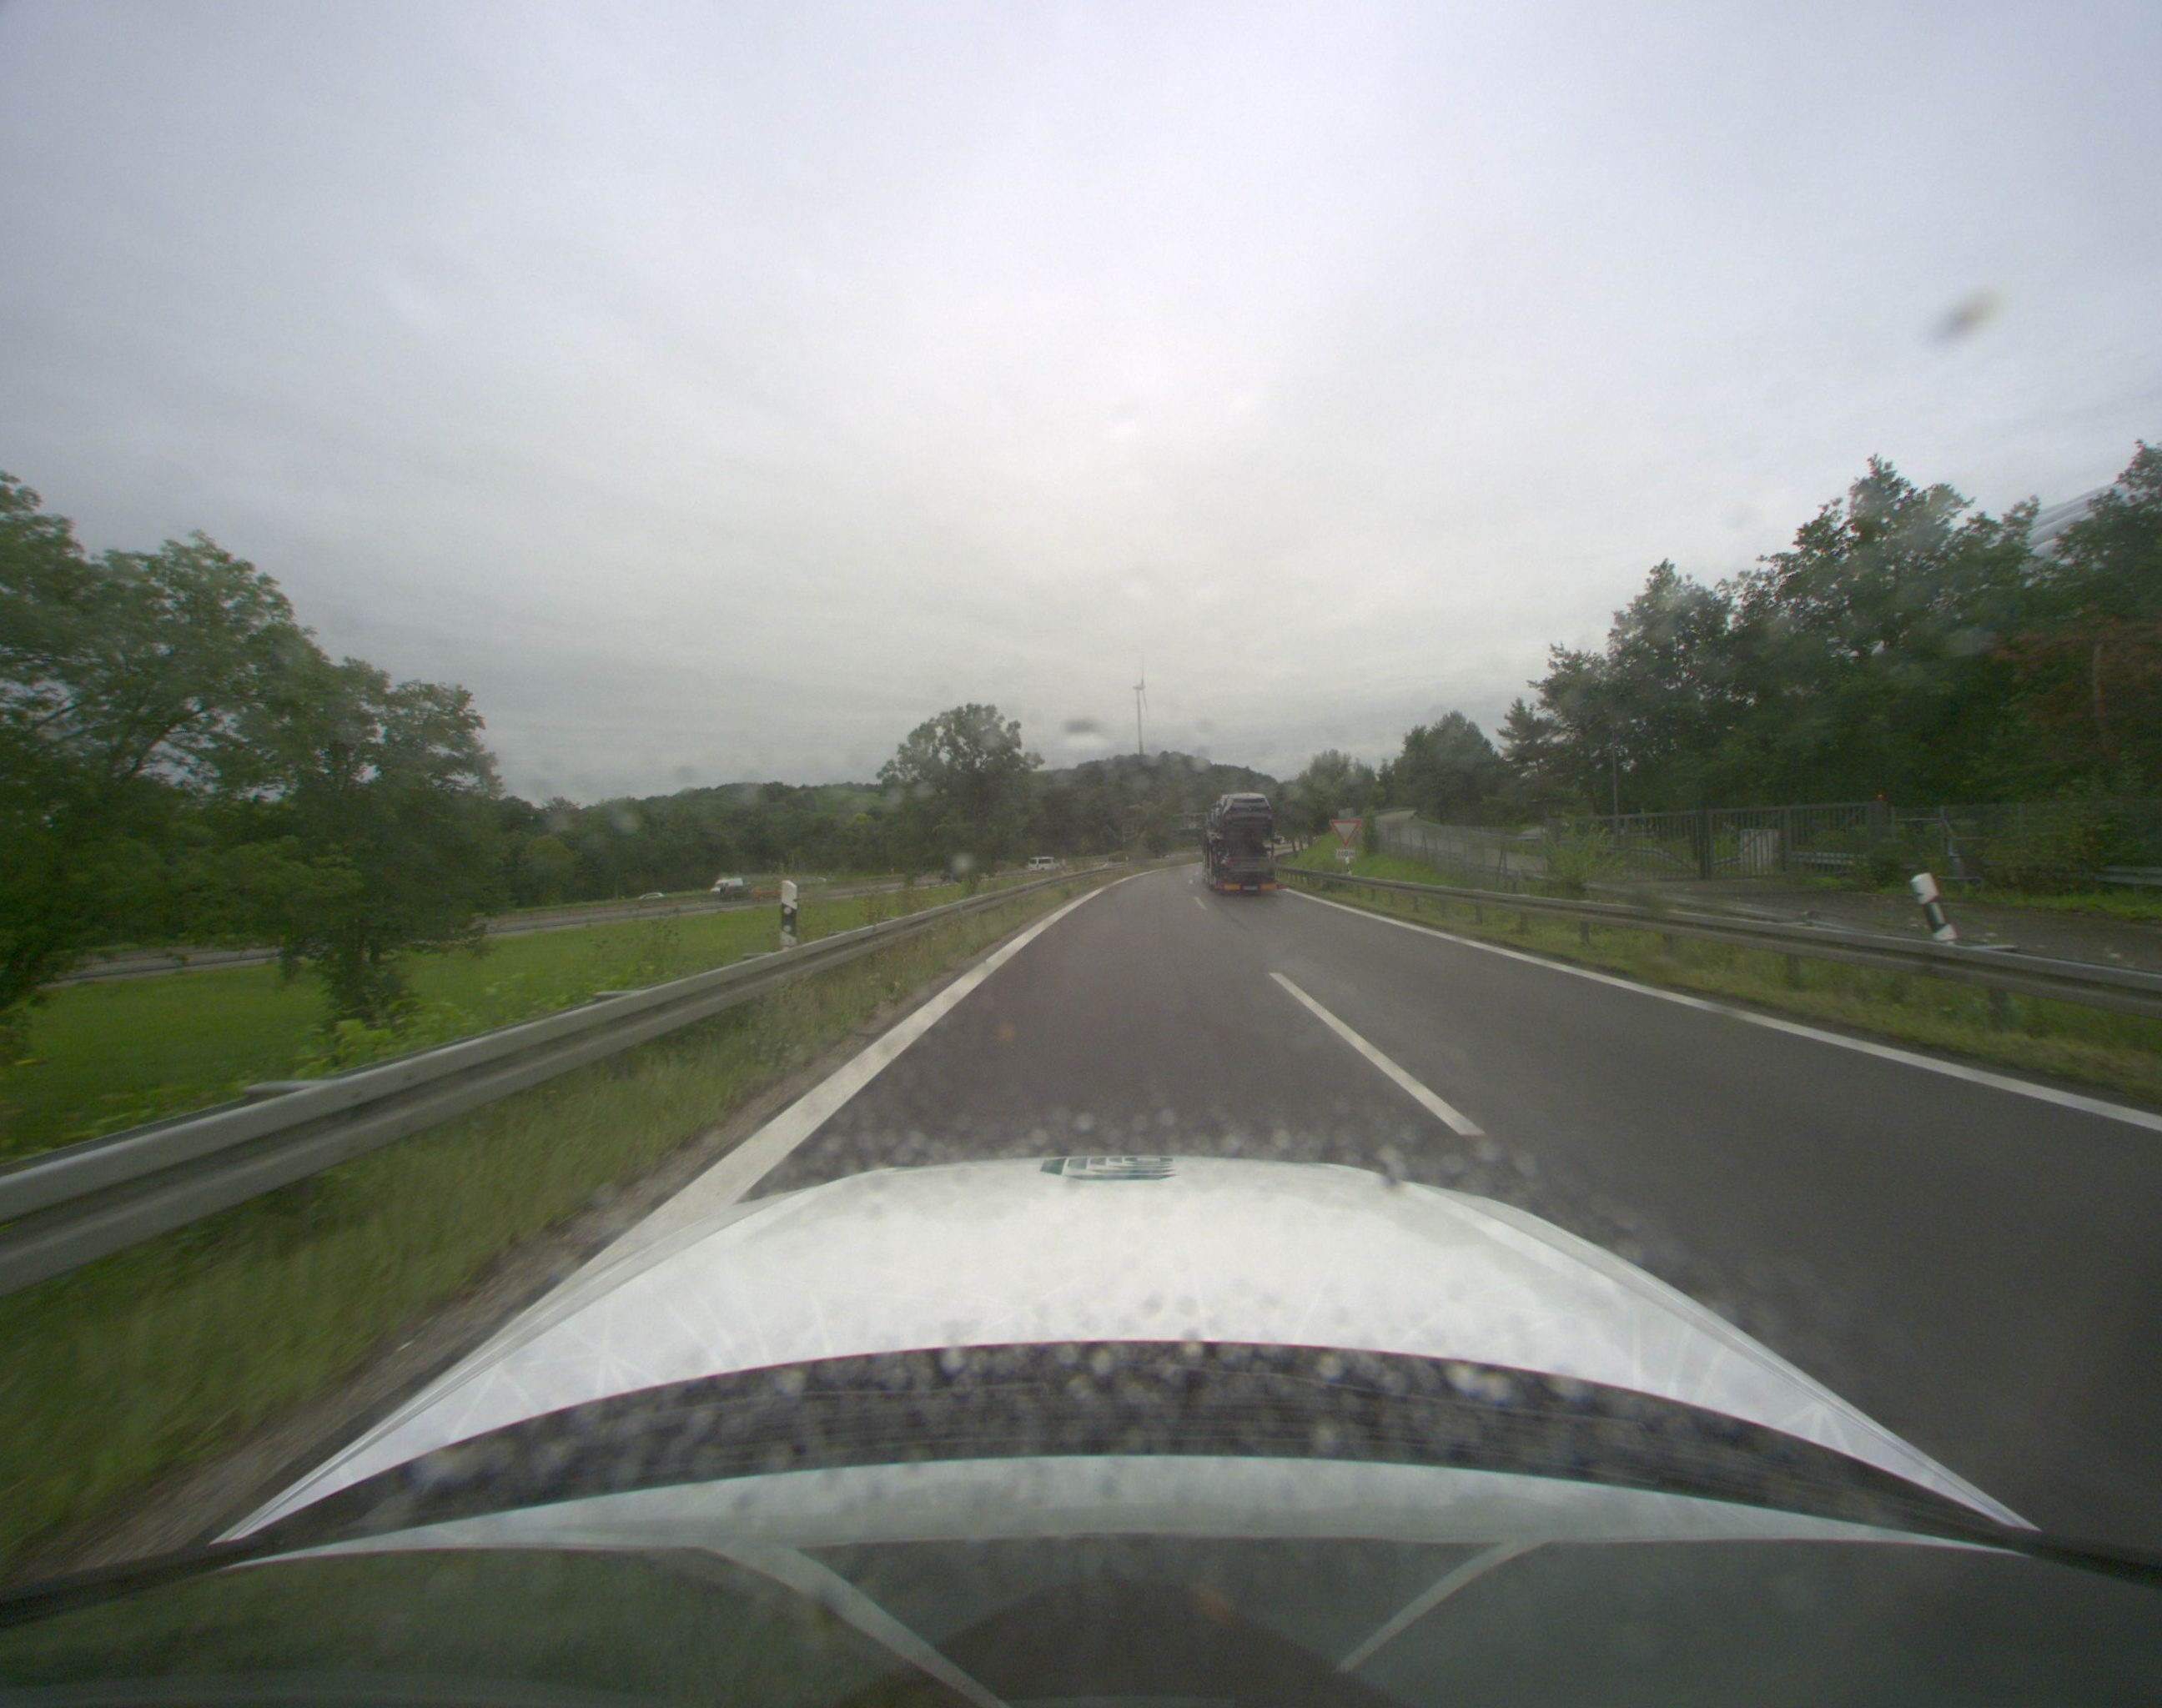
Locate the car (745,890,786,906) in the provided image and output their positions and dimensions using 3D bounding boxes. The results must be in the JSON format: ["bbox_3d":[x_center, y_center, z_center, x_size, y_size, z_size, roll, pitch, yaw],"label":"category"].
[{"bbox_3d":[-37.300,5.164,96.356,1.906,1.277,4.026,-8,-1,41],"label":"car"}]

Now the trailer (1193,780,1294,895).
[{"bbox_3d":[6.480,-0.568,34.467,3.430,3.999,12.052,0,0,8],"label":"trailer"}]

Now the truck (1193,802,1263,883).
[{"bbox_3d":[8.057,-0.560,45.940,3.376,3.999,10.869,0,0,8],"label":"truck"}]

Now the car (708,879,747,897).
[{"bbox_3d":[-54.671,5.228,126.082,2.005,2.102,5.990,-6,0,16],"label":"car"}]

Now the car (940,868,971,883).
[{"bbox_3d":[-18.303,3.124,118.809,1.974,1.716,4.026,-8,-1,41],"label":"car"}]

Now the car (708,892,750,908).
[{"bbox_3d":[-41.693,5.409,96.521,1.975,1.661,4.025,-2,0,43],"label":"car"}]

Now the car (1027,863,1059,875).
[{"bbox_3d":[-6.039,2.388,129.672,1.974,1.717,5.357,-2,0,42],"label":"car"}]

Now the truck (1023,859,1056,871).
[{"bbox_3d":[-6.473,1.703,128.733,1.974,1.717,5.357,-2,0,42],"label":"truck"}]
